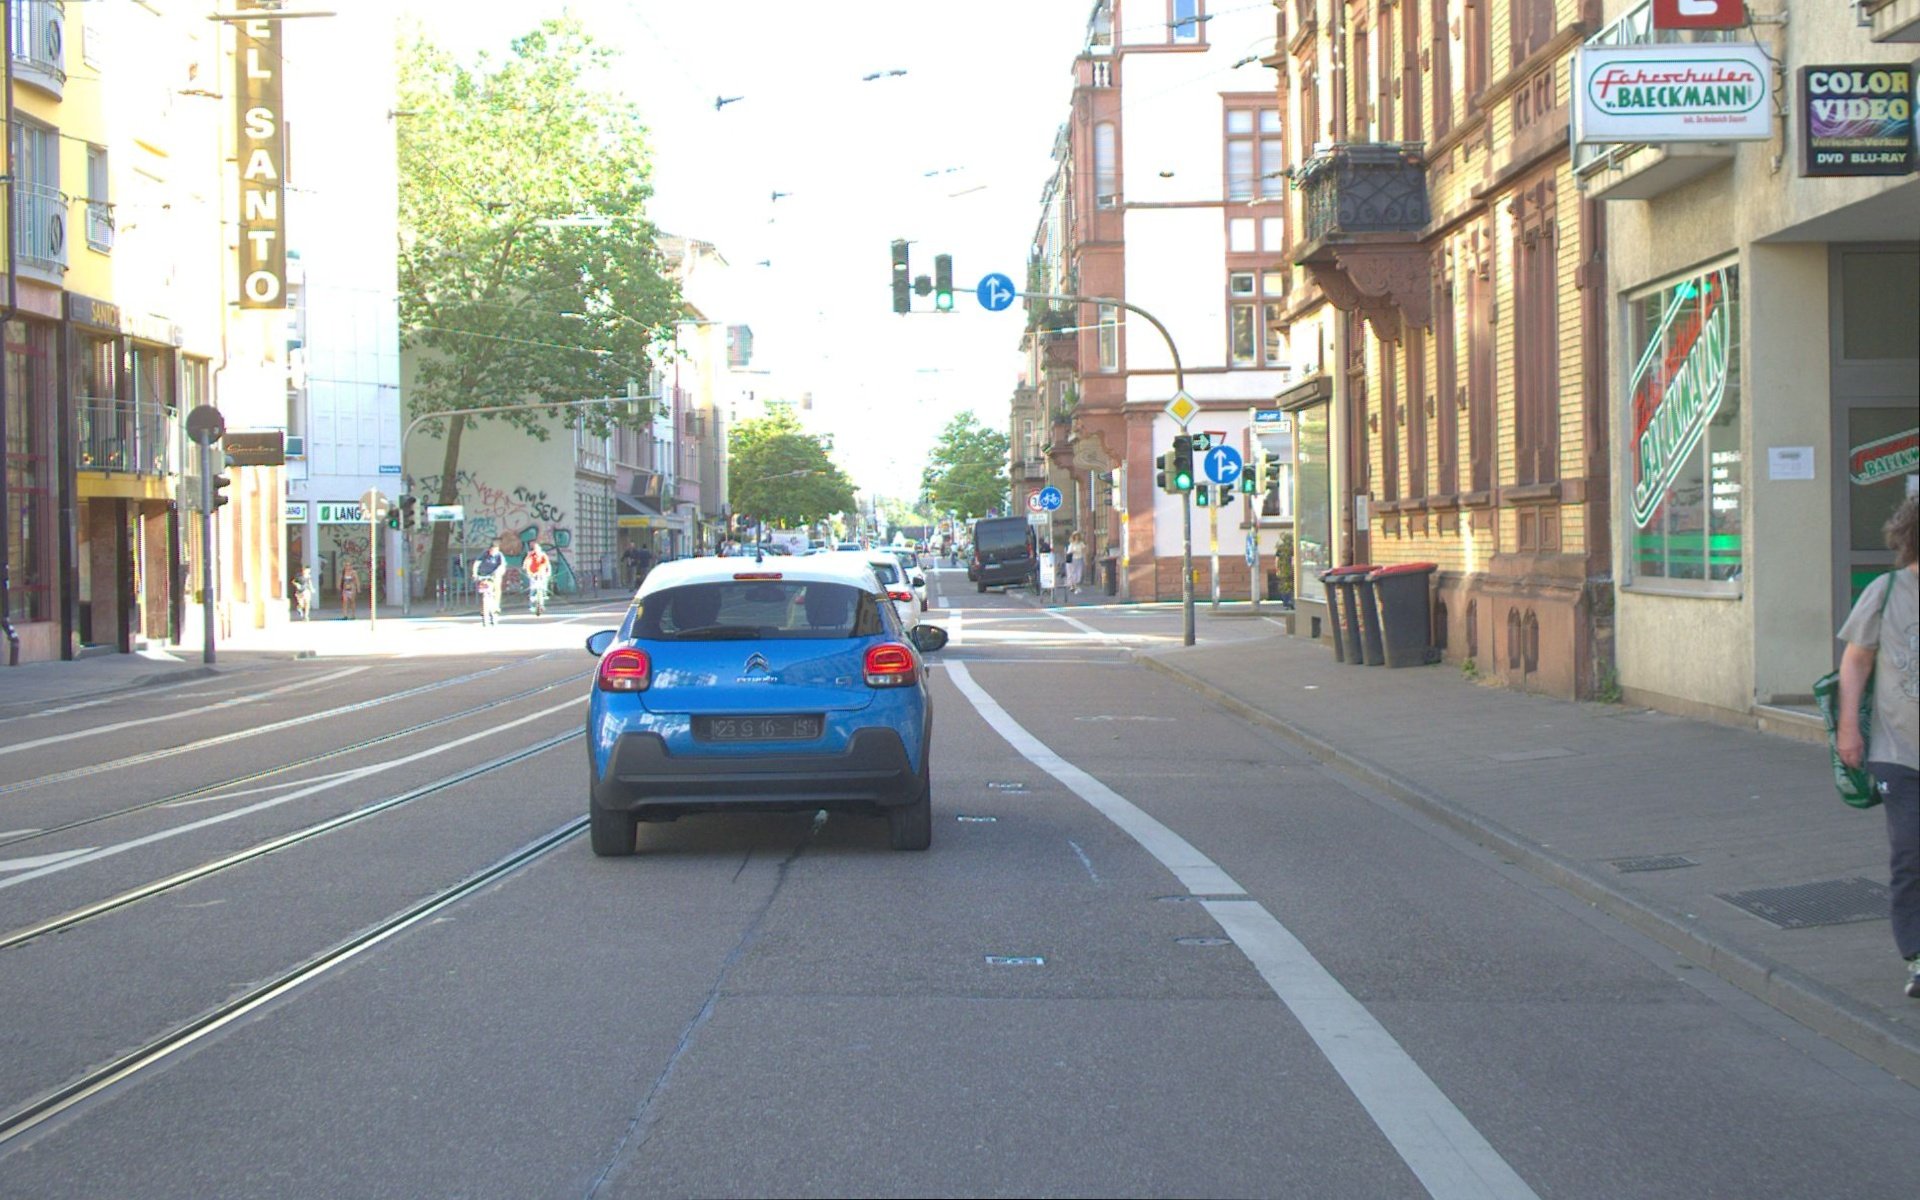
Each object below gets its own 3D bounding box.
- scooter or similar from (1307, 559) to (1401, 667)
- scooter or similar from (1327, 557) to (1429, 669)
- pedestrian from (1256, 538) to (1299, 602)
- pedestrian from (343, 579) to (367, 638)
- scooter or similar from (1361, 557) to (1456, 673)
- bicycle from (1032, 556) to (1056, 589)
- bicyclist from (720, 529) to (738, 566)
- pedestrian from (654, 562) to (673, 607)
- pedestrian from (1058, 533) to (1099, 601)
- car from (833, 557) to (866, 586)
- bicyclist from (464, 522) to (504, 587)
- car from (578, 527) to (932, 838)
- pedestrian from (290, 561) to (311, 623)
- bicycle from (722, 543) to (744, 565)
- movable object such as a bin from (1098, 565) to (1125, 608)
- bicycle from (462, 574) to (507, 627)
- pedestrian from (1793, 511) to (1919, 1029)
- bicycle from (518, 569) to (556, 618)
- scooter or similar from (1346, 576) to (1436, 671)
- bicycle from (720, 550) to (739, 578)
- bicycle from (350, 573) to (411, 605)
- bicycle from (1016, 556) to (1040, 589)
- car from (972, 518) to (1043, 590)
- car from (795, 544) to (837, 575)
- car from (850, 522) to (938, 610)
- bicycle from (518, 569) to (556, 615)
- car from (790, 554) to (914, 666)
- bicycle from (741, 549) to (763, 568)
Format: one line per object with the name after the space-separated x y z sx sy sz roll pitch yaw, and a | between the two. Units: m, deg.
4.469 0.144 39.033 0.897 1.144 0.547 -5 1 -2 | scooter or similar
4.608 0.141 37.946 0.933 1.144 0.650 -5 1 -2 | scooter or similar
7.208 -0.682 78.000 0.938 1.452 0.823 0 1 8 | pedestrian
-15.947 0.217 90.580 0.542 1.547 0.516 0 1 -2 | pedestrian
4.736 0.151 36.341 0.790 1.144 0.790 -5 1 -2 | scooter or similar
2.412 -0.794 98.796 0.431 0.944 1.764 0 1 -8 | bicycle
-9.492 -2.156 141.348 0.682 1.478 0.778 -1 1 -1 | bicyclist
-11.653 -0.619 135.158 0.710 1.758 0.570 -1 1 -2 | pedestrian
3.366 -0.939 97.442 0.705 1.775 0.673 -14 1 -2 | pedestrian
-6.727 -1.747 209.097 1.993 1.738 4.563 -1 1 -2 | car
-10.166 -0.971 73.397 0.724 1.376 1.228 0 1 -2 | bicyclist
-1.075 0.358 18.379 1.673 1.472 4.001 0 1 -3 | car
-15.090 -0.185 78.677 0.404 1.405 0.516 0 0 -2 | pedestrian
-13.918 -2.804 210.702 1.120 1.315 3.645 -1 1 -6 | bicycle
4.098 -0.376 93.000 0.666 1.150 0.594 0 1 -2 | movable object such as a bin
-10.152 0.005 73.469 0.730 1.084 2.062 0 1 -2 | bicycle
3.027 0.504 10.716 0.648 1.555 0.781 0 1 -2 | pedestrian
-10.406 -0.174 84.595 0.730 1.179 2.062 0 1 -2 | bicycle
4.662 0.251 37.224 0.790 0.954 0.680 -5 1 -2 | scooter or similar
-9.489 -1.504 141.519 0.692 1.116 2.084 0 1 -1 | bicycle
-18.741 -0.352 111.172 1.918 1.031 0.664 0 1 26 | bicycle
1.947 -0.787 98.720 0.431 0.944 1.764 0 1 -8 | bicycle
1.611 -1.610 118.991 2.271 2.428 5.720 -1 1 -1 | car
-7.086 -2.017 169.921 1.985 1.497 4.309 0 1 -1 | car
-1.581 -0.824 81.618 1.993 2.007 4.000 -1 1 -2 | car
-10.114 -0.194 82.283 0.730 1.062 2.062 0 1 -2 | bicycle
-1.527 0.115 48.970 1.667 1.473 4.000 -1 1 -2 | car
-12.769 -2.560 210.878 1.120 1.142 3.645 -1 1 -6 | bicycle
